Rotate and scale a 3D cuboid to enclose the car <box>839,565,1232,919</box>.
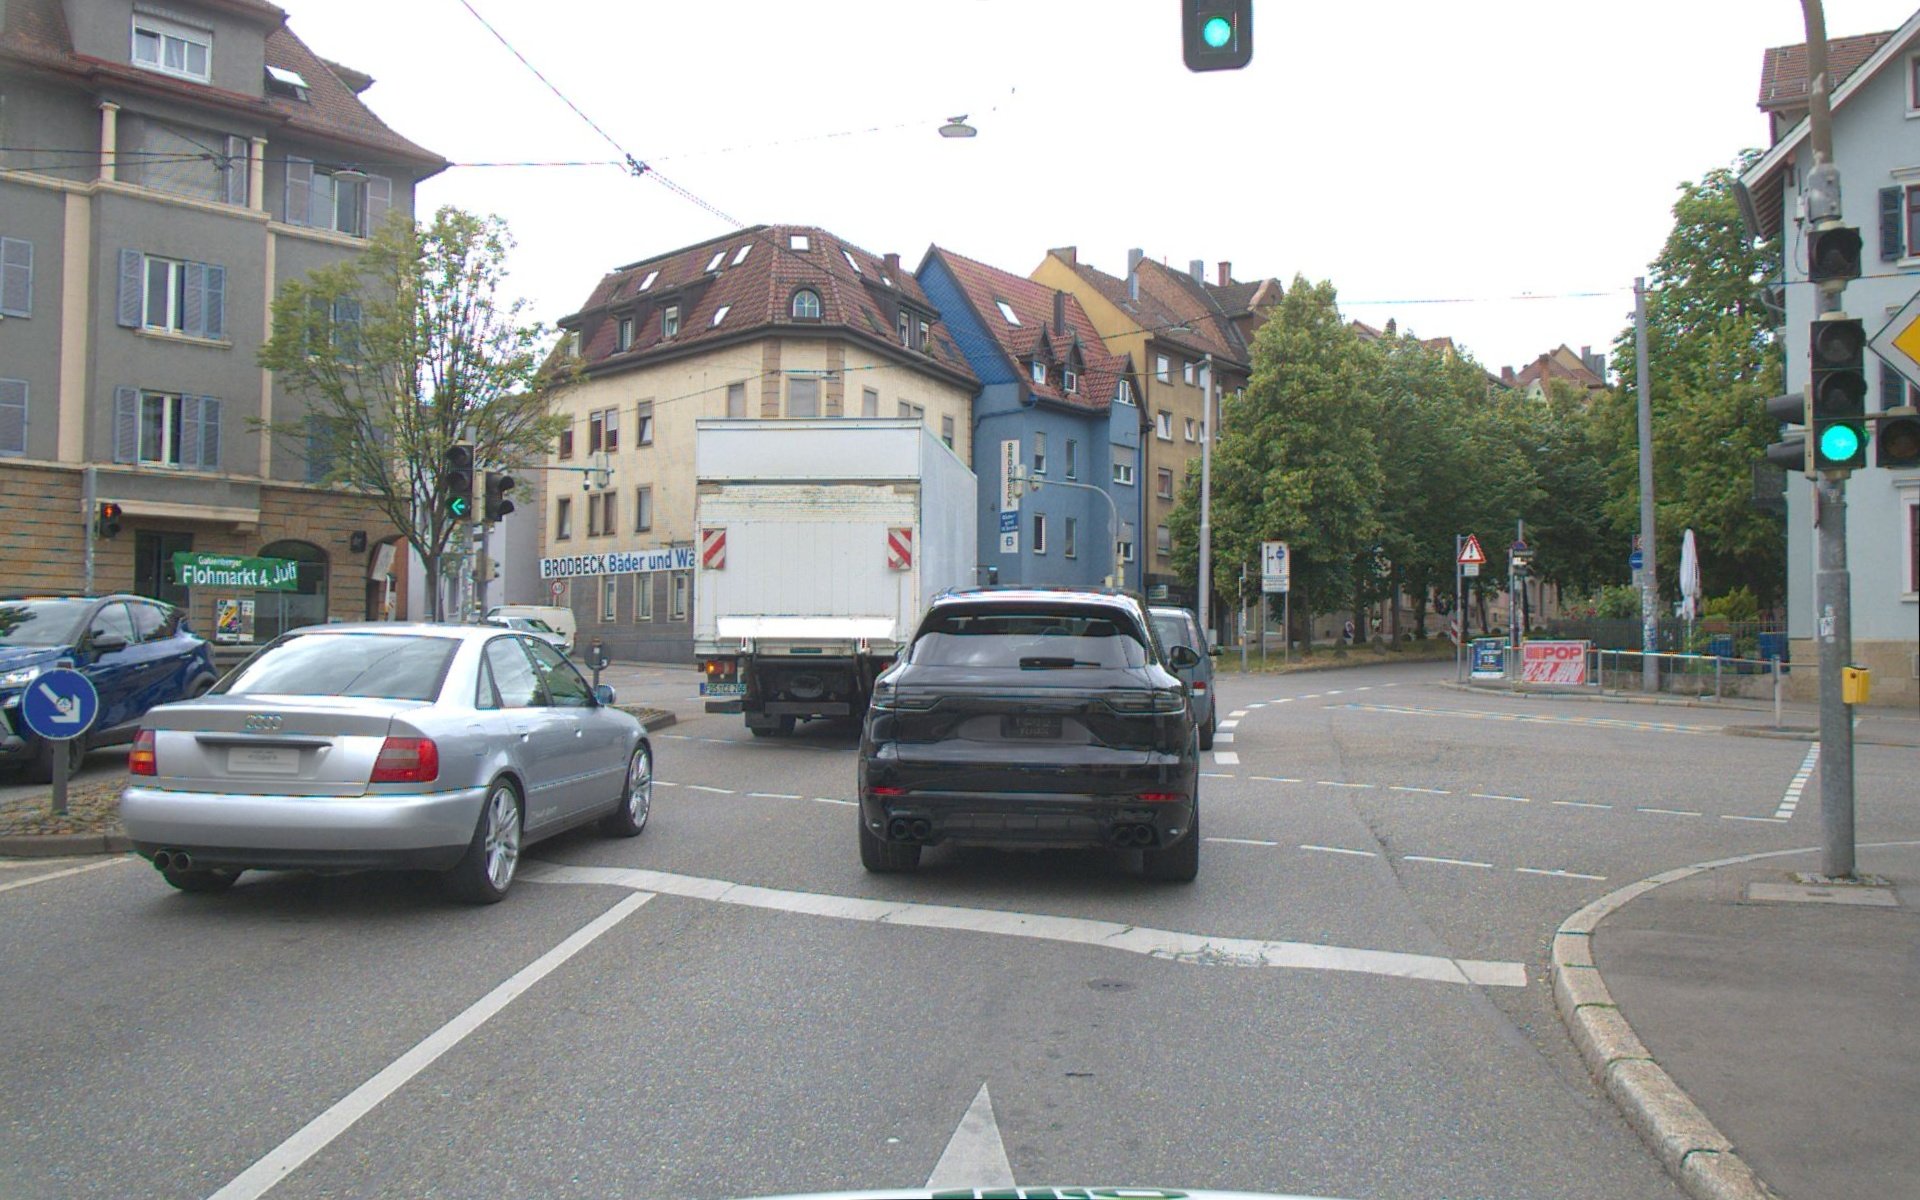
[{"bbox_3d":[0.592,0.723,10.855,1.989,1.753,4.503,2,0,5],"label":"car"}]

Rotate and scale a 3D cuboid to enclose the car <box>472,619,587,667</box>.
[{"bbox_3d":[-13.982,1.398,53.672,3.908,1.495,1.867,-1,-2,44],"label":"car"}]

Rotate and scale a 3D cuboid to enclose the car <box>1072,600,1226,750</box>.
[{"bbox_3d":[2.338,0.850,19.802,1.613,1.583,3.585,2,-1,9],"label":"car"}]

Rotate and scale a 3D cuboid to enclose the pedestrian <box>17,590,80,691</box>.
[{"bbox_3d":[-13.862,0.609,25.167,0.511,1.513,0.654,1,-1,16],"label":"pedestrian"}]

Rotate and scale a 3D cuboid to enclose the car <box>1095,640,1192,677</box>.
[{"bbox_3d":[7.368,2.336,66.077,1.838,1.441,4.680,-1,-3,36],"label":"car"}]

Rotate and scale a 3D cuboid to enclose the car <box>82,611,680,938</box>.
[{"bbox_3d":[-2.931,0.781,9.408,1.594,1.389,4.130,2,0,5],"label":"car"}]

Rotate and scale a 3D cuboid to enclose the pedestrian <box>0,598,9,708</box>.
[{"bbox_3d":[-14.223,0.760,23.653,0.775,1.573,0.739,0,-1,16],"label":"pedestrian"}]

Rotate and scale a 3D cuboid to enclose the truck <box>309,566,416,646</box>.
[{"bbox_3d":[-26.797,0.263,74.123,2.675,3.413,5.357,3,-1,-41],"label":"truck"}]

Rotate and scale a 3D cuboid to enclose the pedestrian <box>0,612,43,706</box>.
[{"bbox_3d":[-14.045,0.860,24.492,0.562,1.361,0.584,0,-1,16],"label":"pedestrian"}]

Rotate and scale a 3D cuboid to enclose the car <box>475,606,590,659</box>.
[{"bbox_3d":[-15.545,1.159,60.011,4.258,1.831,2.052,0,-1,42],"label":"car"}]

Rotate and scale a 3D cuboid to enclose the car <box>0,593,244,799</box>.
[{"bbox_3d":[-8.090,0.733,14.550,1.750,1.558,4.036,1,0,1],"label":"car"}]

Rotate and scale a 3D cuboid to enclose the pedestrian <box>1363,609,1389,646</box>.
[{"bbox_3d":[23.827,1.574,94.789,1.171,2.049,0.986,0,-1,34],"label":"pedestrian"}]

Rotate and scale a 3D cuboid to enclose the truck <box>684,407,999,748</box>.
[{"bbox_3d":[-1.176,-0.217,21.817,2.667,3.606,8.426,1,0,6],"label":"truck"}]

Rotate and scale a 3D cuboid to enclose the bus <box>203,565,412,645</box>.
[{"bbox_3d":[-27.851,0.195,70.154,11.931,3.150,3.149,0,-1,41],"label":"bus"}]
